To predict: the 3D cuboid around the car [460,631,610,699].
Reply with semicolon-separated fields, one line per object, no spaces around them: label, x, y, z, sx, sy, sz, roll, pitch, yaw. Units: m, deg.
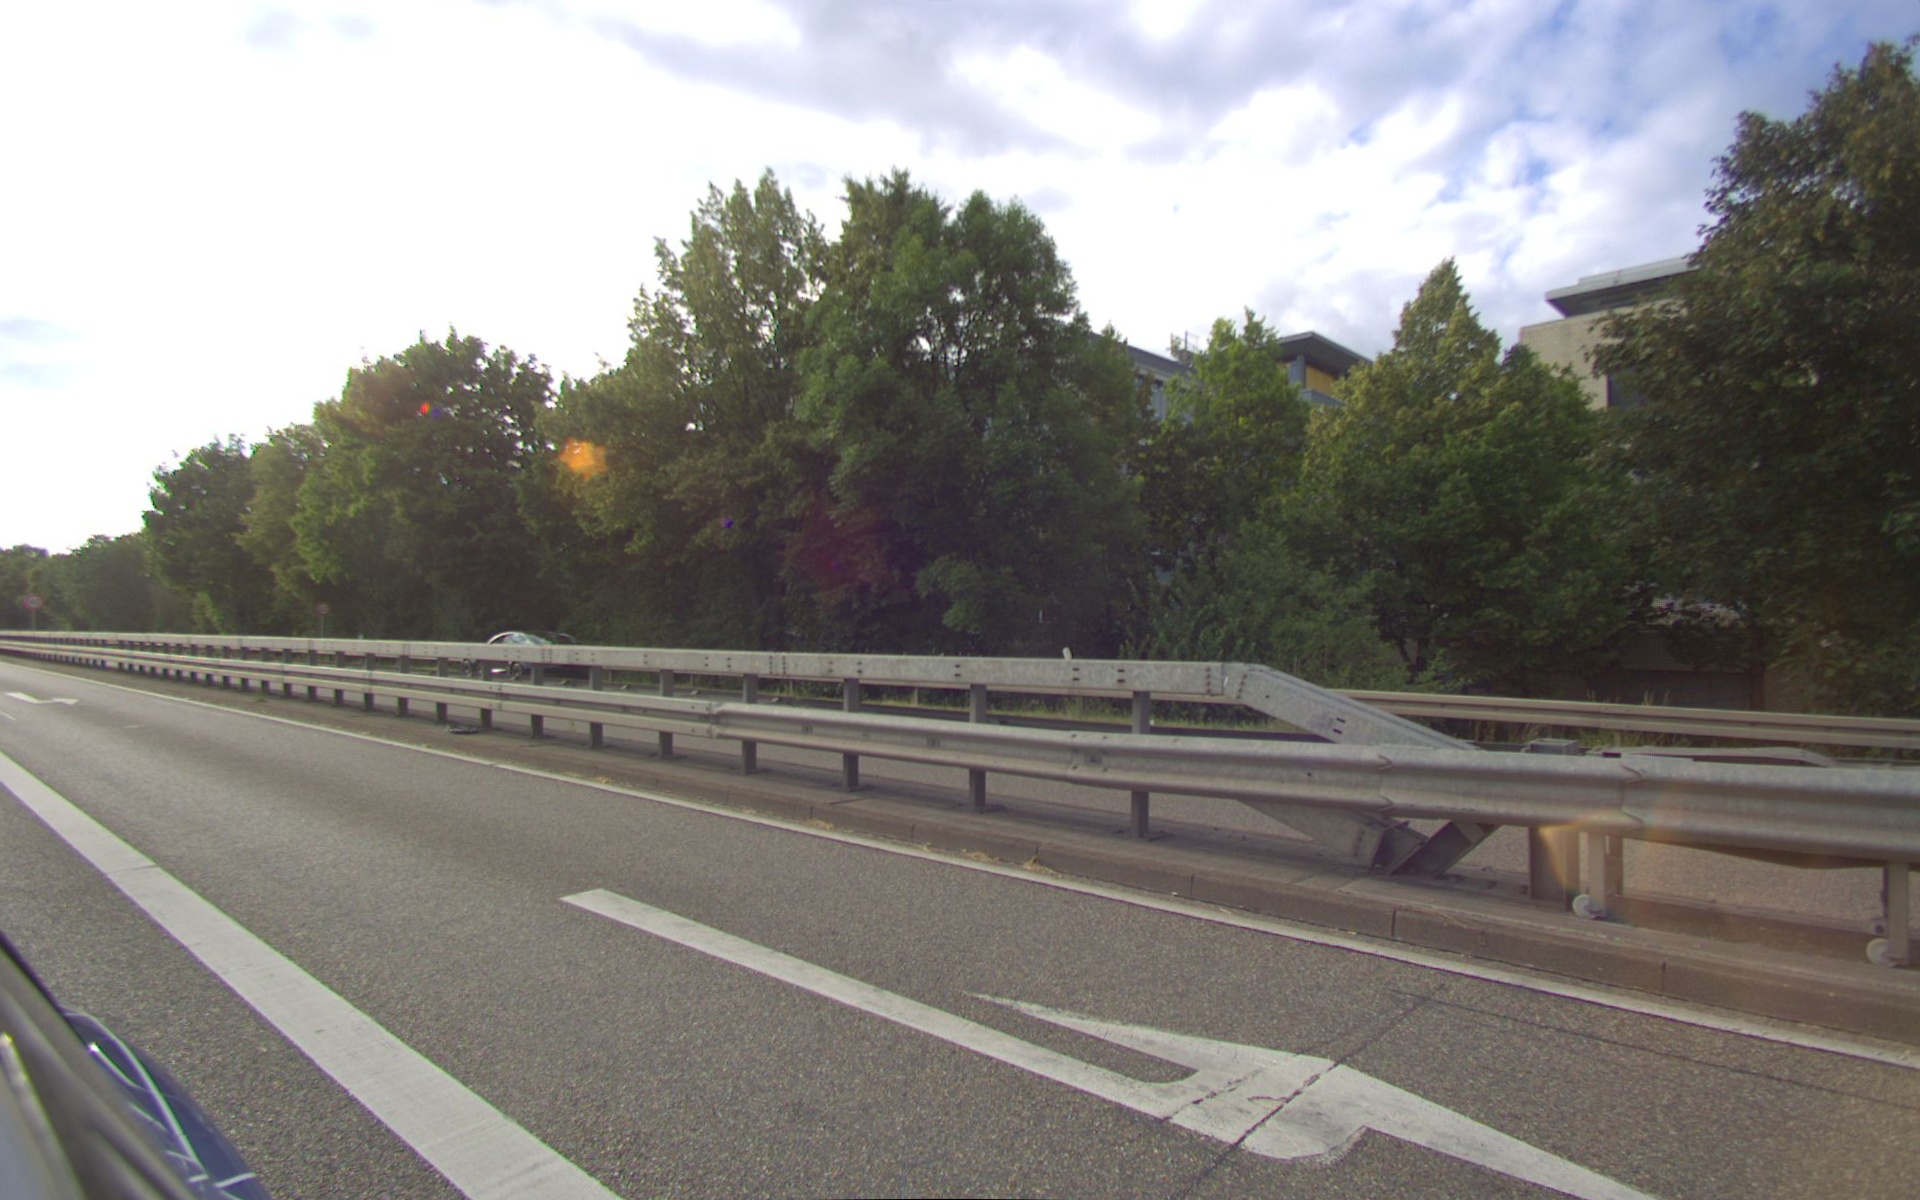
car;-10.924;1.597;25.892;4.373;1.468;1.895;-1;0;43
